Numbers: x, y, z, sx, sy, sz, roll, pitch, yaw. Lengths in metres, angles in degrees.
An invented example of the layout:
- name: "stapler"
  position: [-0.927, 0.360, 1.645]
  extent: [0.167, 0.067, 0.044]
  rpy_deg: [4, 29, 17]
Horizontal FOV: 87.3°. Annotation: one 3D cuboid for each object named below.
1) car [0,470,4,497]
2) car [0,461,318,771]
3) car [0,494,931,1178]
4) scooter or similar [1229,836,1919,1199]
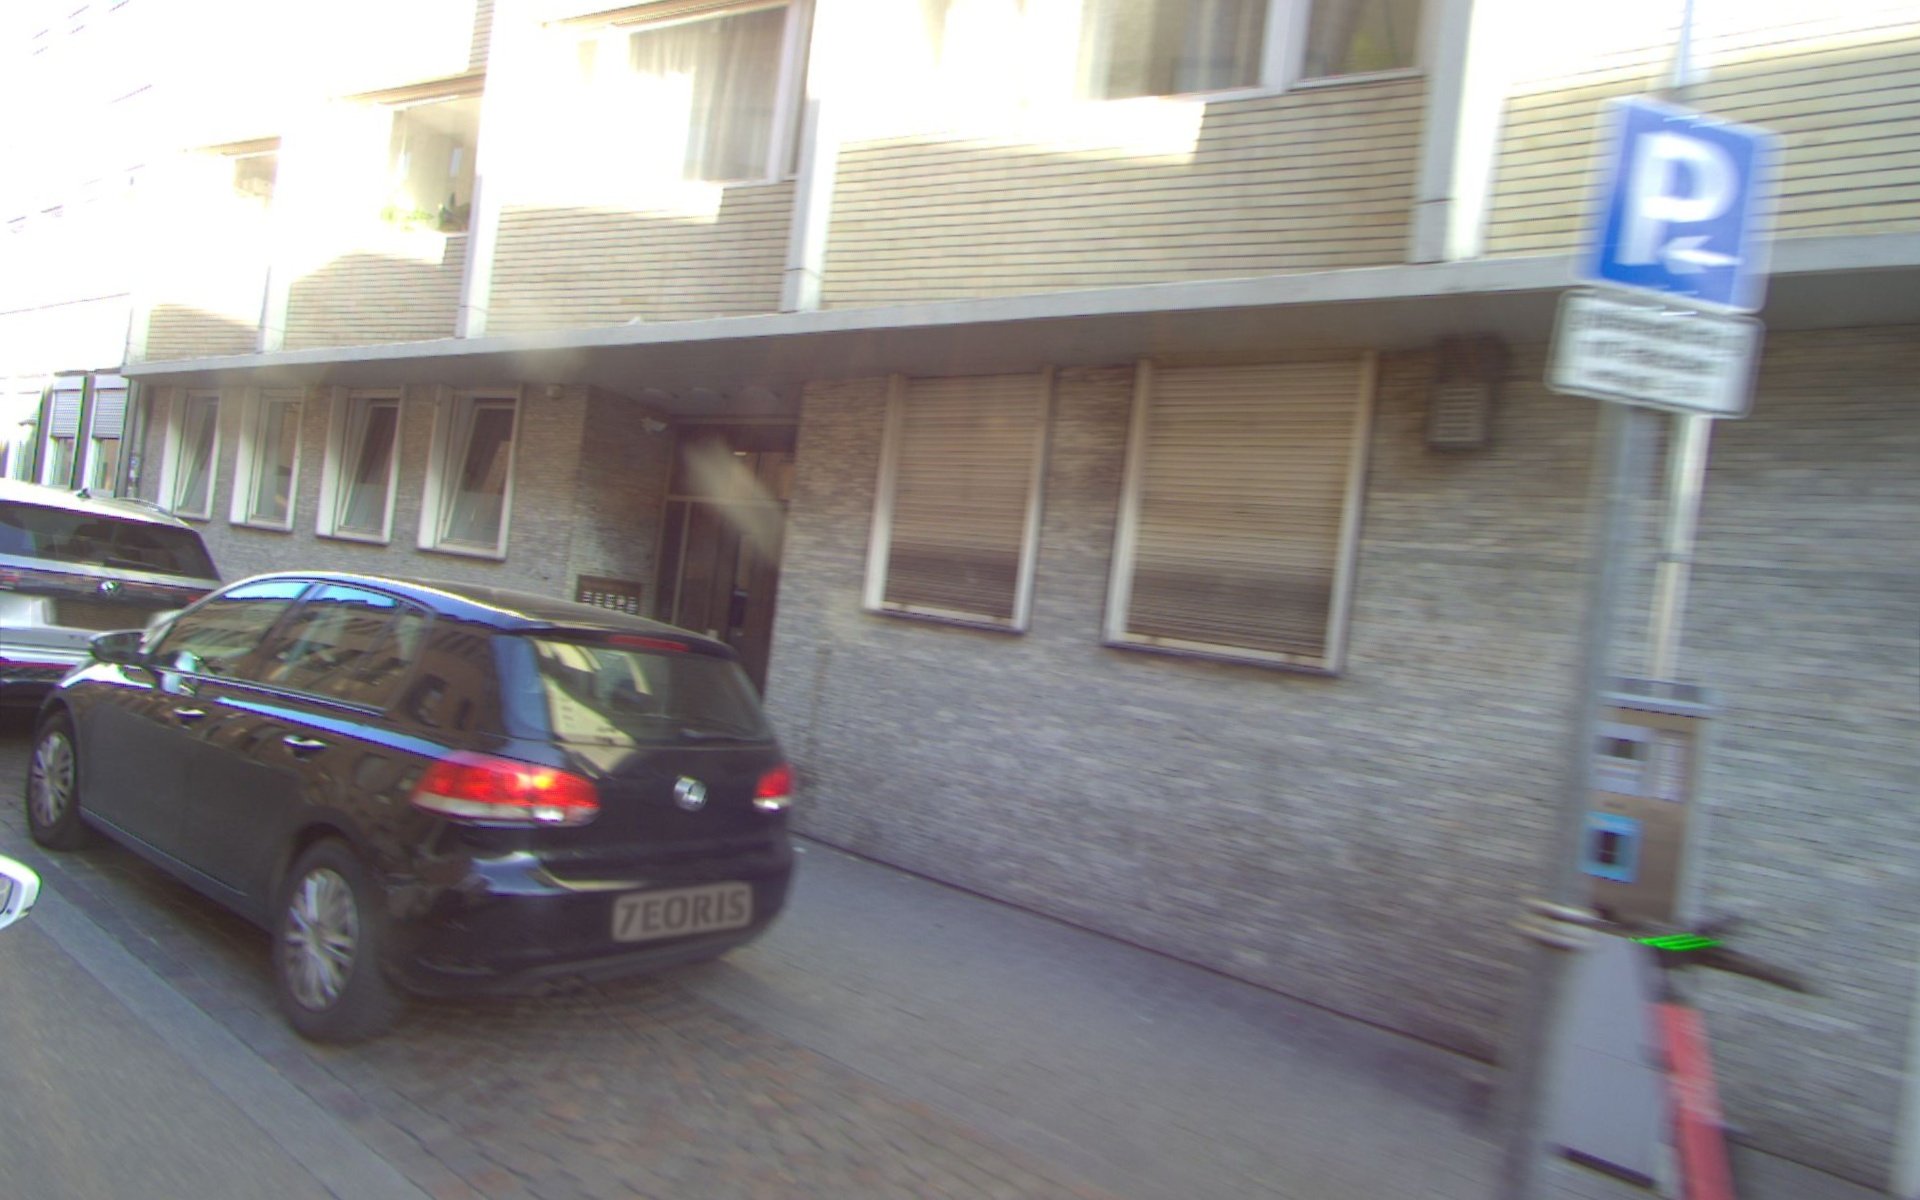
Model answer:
- name: "car"
  position: [-13.087, -0.875, 11.362]
  extent: [4.970, 1.805, 2.108]
  rpy_deg: [7, -3, 34]
- name: "car"
  position: [-7.051, -0.059, 7.368]
  extent: [4.764, 1.720, 1.999]
  rpy_deg: [7, -4, 33]
- name: "car"
  position: [-2.587, 0.580, 4.528]
  extent: [4.525, 1.520, 1.828]
  rpy_deg: [7, -4, 34]
- name: "scooter or similar"
  position: [1.256, 1.213, 1.996]
  extent: [1.282, 1.208, 0.494]
  rpy_deg: [8, -1, 5]
